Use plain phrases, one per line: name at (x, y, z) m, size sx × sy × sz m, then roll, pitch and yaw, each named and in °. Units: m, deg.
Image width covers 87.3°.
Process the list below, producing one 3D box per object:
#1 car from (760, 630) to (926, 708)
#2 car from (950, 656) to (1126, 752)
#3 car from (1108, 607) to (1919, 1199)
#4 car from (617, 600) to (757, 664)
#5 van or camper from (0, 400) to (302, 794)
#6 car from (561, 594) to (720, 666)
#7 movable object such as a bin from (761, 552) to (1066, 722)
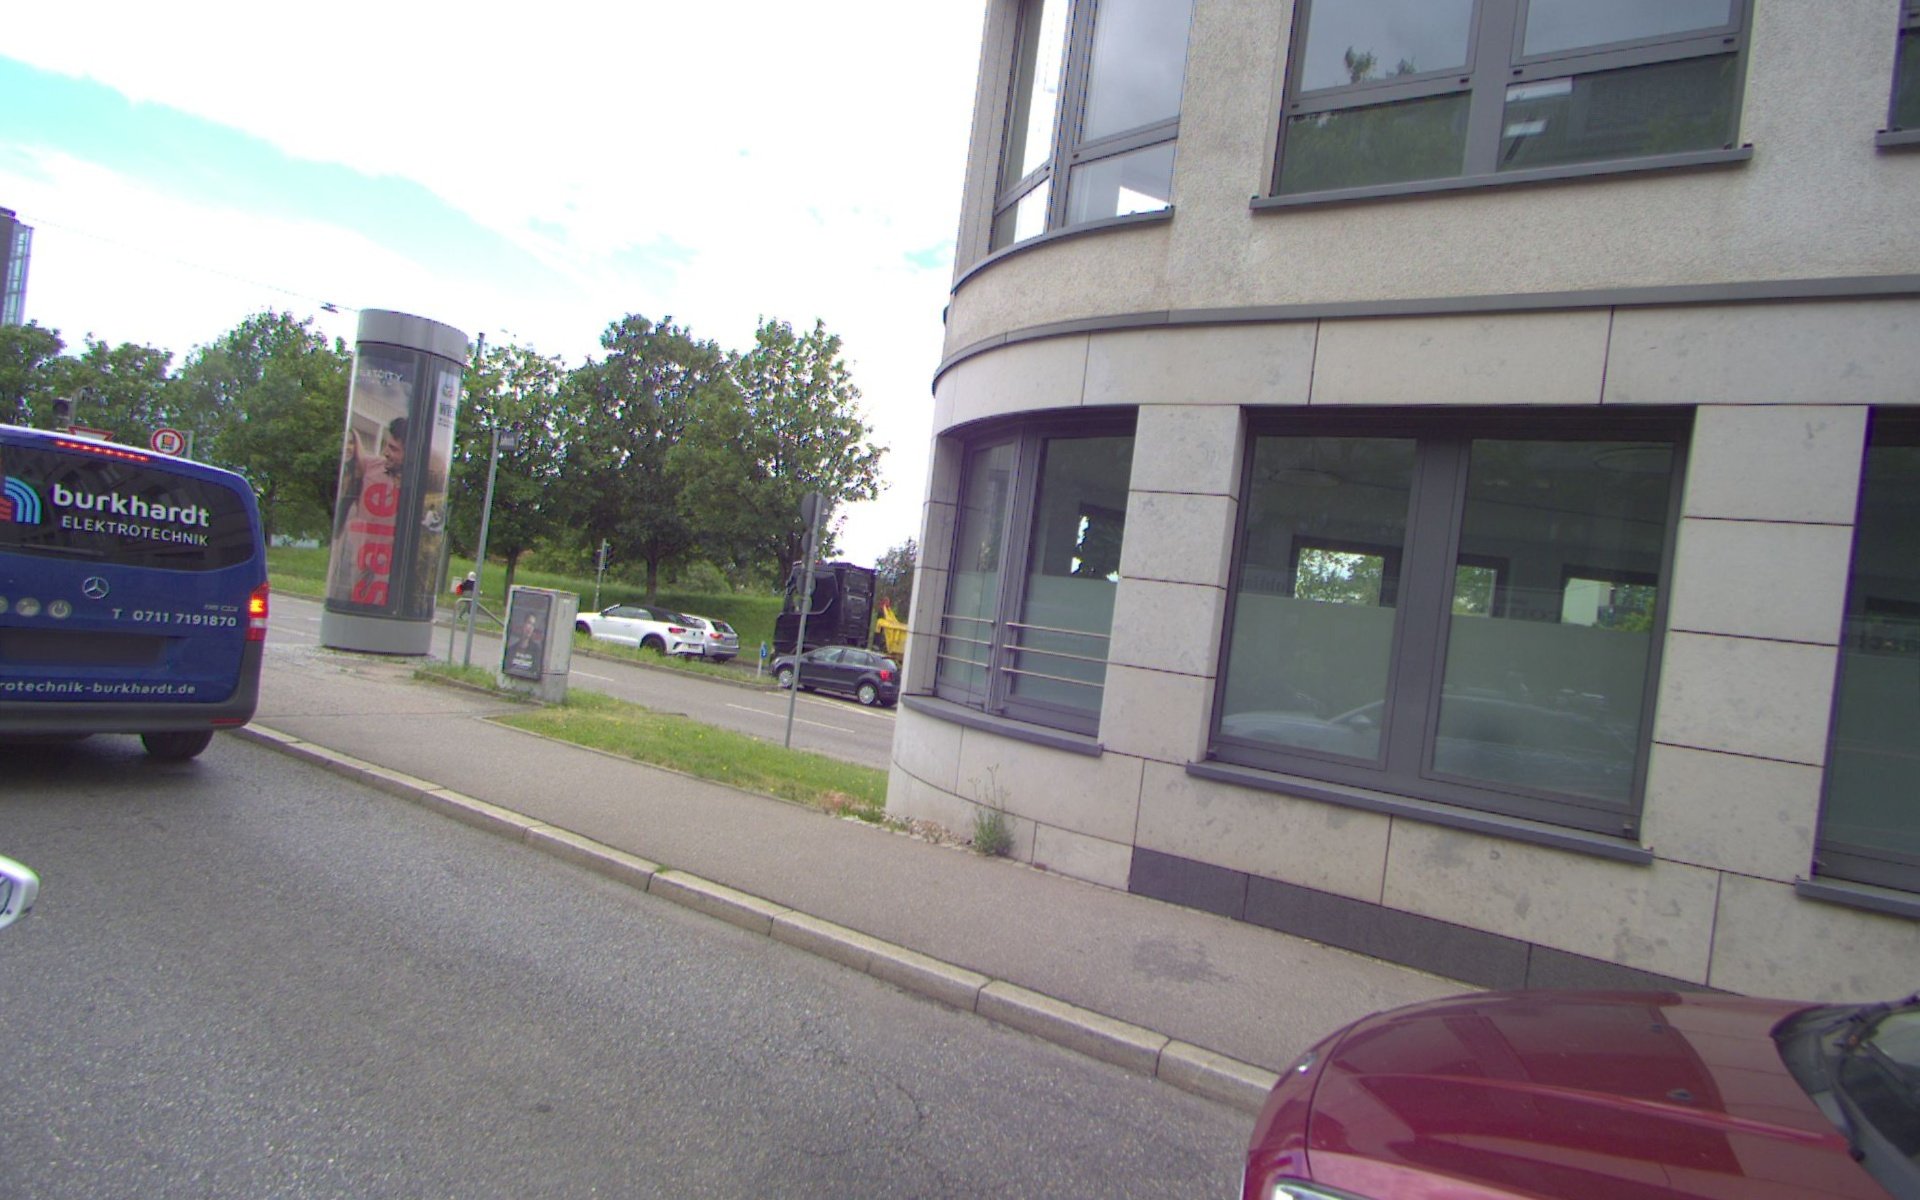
car at (-3.195, 1.916, 27.729) m, size 3.925 × 1.469 × 2.003 m, roll 8°, pitch -3°, yaw 19°
car at (2.020, 2.634, 25.708) m, size 3.925 × 1.723 × 2.003 m, roll 8°, pitch -3°, yaw 19°
car at (2.312, 1.081, 1.003) m, size 3.933 × 1.509 × 1.890 m, roll 7°, pitch -3°, yaw 32°
car at (-9.102, 1.088, 33.598) m, size 3.925 × 1.469 × 2.003 m, roll 8°, pitch -3°, yaw 19°
van or camper at (-6.617, -0.214, 6.541) m, size 4.949 × 1.934 × 1.862 m, roll 7°, pitch -1°, yaw 32°
car at (-9.494, 0.899, 29.970) m, size 3.925 × 1.469 × 2.003 m, roll 8°, pitch -3°, yaw 19°
movable object such as a bin at (-1.394, 1.057, 30.560) m, size 8.410 × 3.949 × 2.870 m, roll 7°, pitch -1°, yaw 18°
